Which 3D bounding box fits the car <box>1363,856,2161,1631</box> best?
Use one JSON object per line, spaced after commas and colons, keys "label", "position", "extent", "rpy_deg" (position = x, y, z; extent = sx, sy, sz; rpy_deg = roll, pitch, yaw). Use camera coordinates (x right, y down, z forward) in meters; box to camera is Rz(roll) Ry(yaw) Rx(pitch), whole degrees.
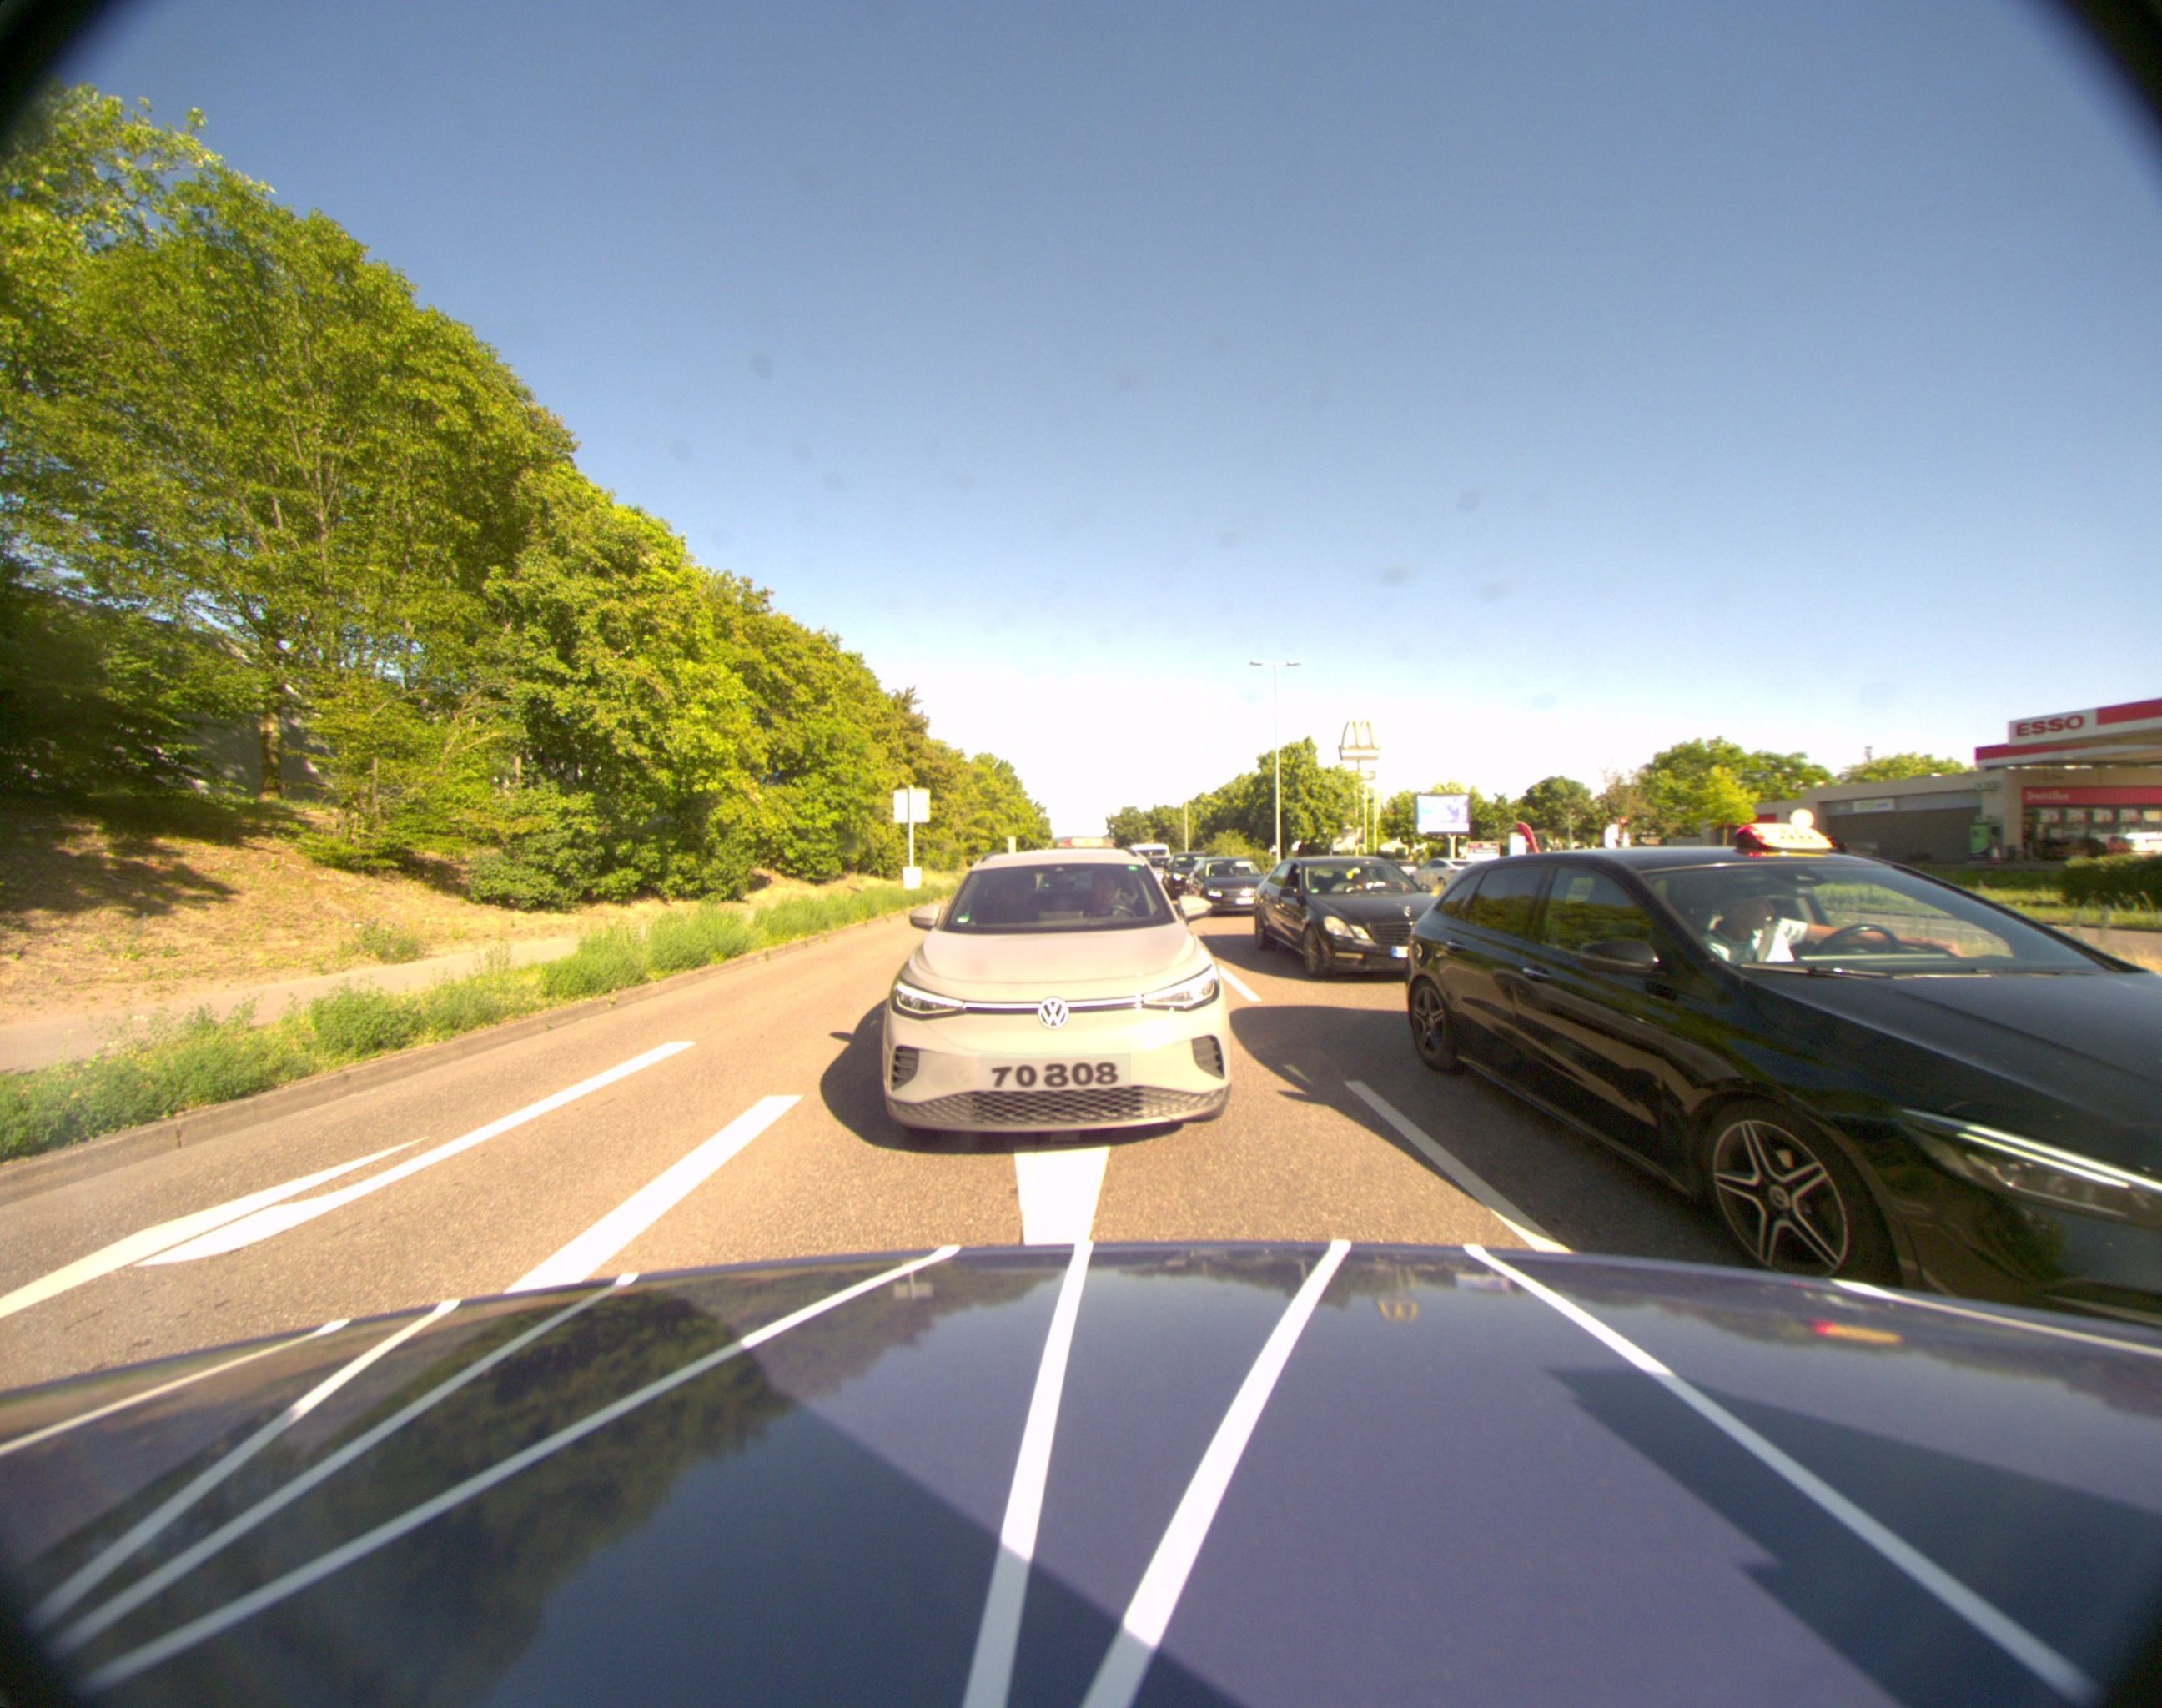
{"label": "car", "position": [3.085, 0.814, 3.658], "extent": [1.763, 1.482, 4.402], "rpy_deg": [-2, 1, 0]}

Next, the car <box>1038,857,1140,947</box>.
{"label": "car", "position": [0.128, 0.868, 15.764], "extent": [1.763, 1.482, 4.402], "rpy_deg": [-2, 1, 0]}

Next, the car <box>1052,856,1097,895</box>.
{"label": "car", "position": [-0.267, 0.877, 33.038], "extent": [1.763, 1.482, 4.402], "rpy_deg": [-2, 1, 0]}

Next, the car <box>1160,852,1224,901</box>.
{"label": "car", "position": [3.940, 0.751, 27.562], "extent": [1.674, 1.607, 3.879], "rpy_deg": [-2, 0, 0]}

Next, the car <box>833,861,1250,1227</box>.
{"label": "car", "position": [-0.187, 0.896, 5.707], "extent": [1.862, 1.573, 4.403], "rpy_deg": [-2, 0, 0]}

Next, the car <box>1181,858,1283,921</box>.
{"label": "car", "position": [3.865, 0.856, 20.222], "extent": [1.797, 1.419, 4.287], "rpy_deg": [-2, 0, 0]}

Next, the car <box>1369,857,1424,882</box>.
{"label": "car", "position": [19.576, 0.908, 47.312], "extent": [1.763, 1.401, 3.978], "rpy_deg": [1, 1, 0]}

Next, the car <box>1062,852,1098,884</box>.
{"label": "car", "position": [-0.054, 0.709, 39.860], "extent": [1.763, 1.482, 4.402], "rpy_deg": [-2, 1, 0]}

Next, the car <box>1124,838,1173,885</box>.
{"label": "car", "position": [3.641, 0.380, 42.110], "extent": [2.019, 2.349, 6.523], "rpy_deg": [-2, 0, 0]}

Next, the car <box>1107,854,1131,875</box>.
{"label": "car", "position": [3.268, 0.862, 65.798], "extent": [1.763, 1.607, 4.402], "rpy_deg": [-2, 1, 0]}

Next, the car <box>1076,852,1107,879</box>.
{"label": "car", "position": [0.631, 0.686, 46.977], "extent": [1.763, 1.482, 4.402], "rpy_deg": [-2, 1, 0]}

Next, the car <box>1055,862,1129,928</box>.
{"label": "car", "position": [0.257, 1.035, 20.932], "extent": [1.763, 1.482, 4.402], "rpy_deg": [-2, 1, 0]}

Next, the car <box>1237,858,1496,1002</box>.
{"label": "car", "position": [3.583, 0.847, 10.505], "extent": [1.868, 1.430, 4.402], "rpy_deg": [-2, 1, 0]}

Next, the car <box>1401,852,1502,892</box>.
{"label": "car", "position": [15.890, 0.717, 32.912], "extent": [1.764, 1.482, 4.878], "rpy_deg": [2, 1, -3]}

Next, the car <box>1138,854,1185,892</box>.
{"label": "car", "position": [3.563, 0.787, 34.171], "extent": [1.635, 1.547, 3.777], "rpy_deg": [-2, 0, 0]}

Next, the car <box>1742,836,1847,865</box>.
{"label": "car", "position": [37.195, -0.198, 39.738], "extent": [1.682, 1.401, 3.978], "rpy_deg": [1, 1, 0]}
